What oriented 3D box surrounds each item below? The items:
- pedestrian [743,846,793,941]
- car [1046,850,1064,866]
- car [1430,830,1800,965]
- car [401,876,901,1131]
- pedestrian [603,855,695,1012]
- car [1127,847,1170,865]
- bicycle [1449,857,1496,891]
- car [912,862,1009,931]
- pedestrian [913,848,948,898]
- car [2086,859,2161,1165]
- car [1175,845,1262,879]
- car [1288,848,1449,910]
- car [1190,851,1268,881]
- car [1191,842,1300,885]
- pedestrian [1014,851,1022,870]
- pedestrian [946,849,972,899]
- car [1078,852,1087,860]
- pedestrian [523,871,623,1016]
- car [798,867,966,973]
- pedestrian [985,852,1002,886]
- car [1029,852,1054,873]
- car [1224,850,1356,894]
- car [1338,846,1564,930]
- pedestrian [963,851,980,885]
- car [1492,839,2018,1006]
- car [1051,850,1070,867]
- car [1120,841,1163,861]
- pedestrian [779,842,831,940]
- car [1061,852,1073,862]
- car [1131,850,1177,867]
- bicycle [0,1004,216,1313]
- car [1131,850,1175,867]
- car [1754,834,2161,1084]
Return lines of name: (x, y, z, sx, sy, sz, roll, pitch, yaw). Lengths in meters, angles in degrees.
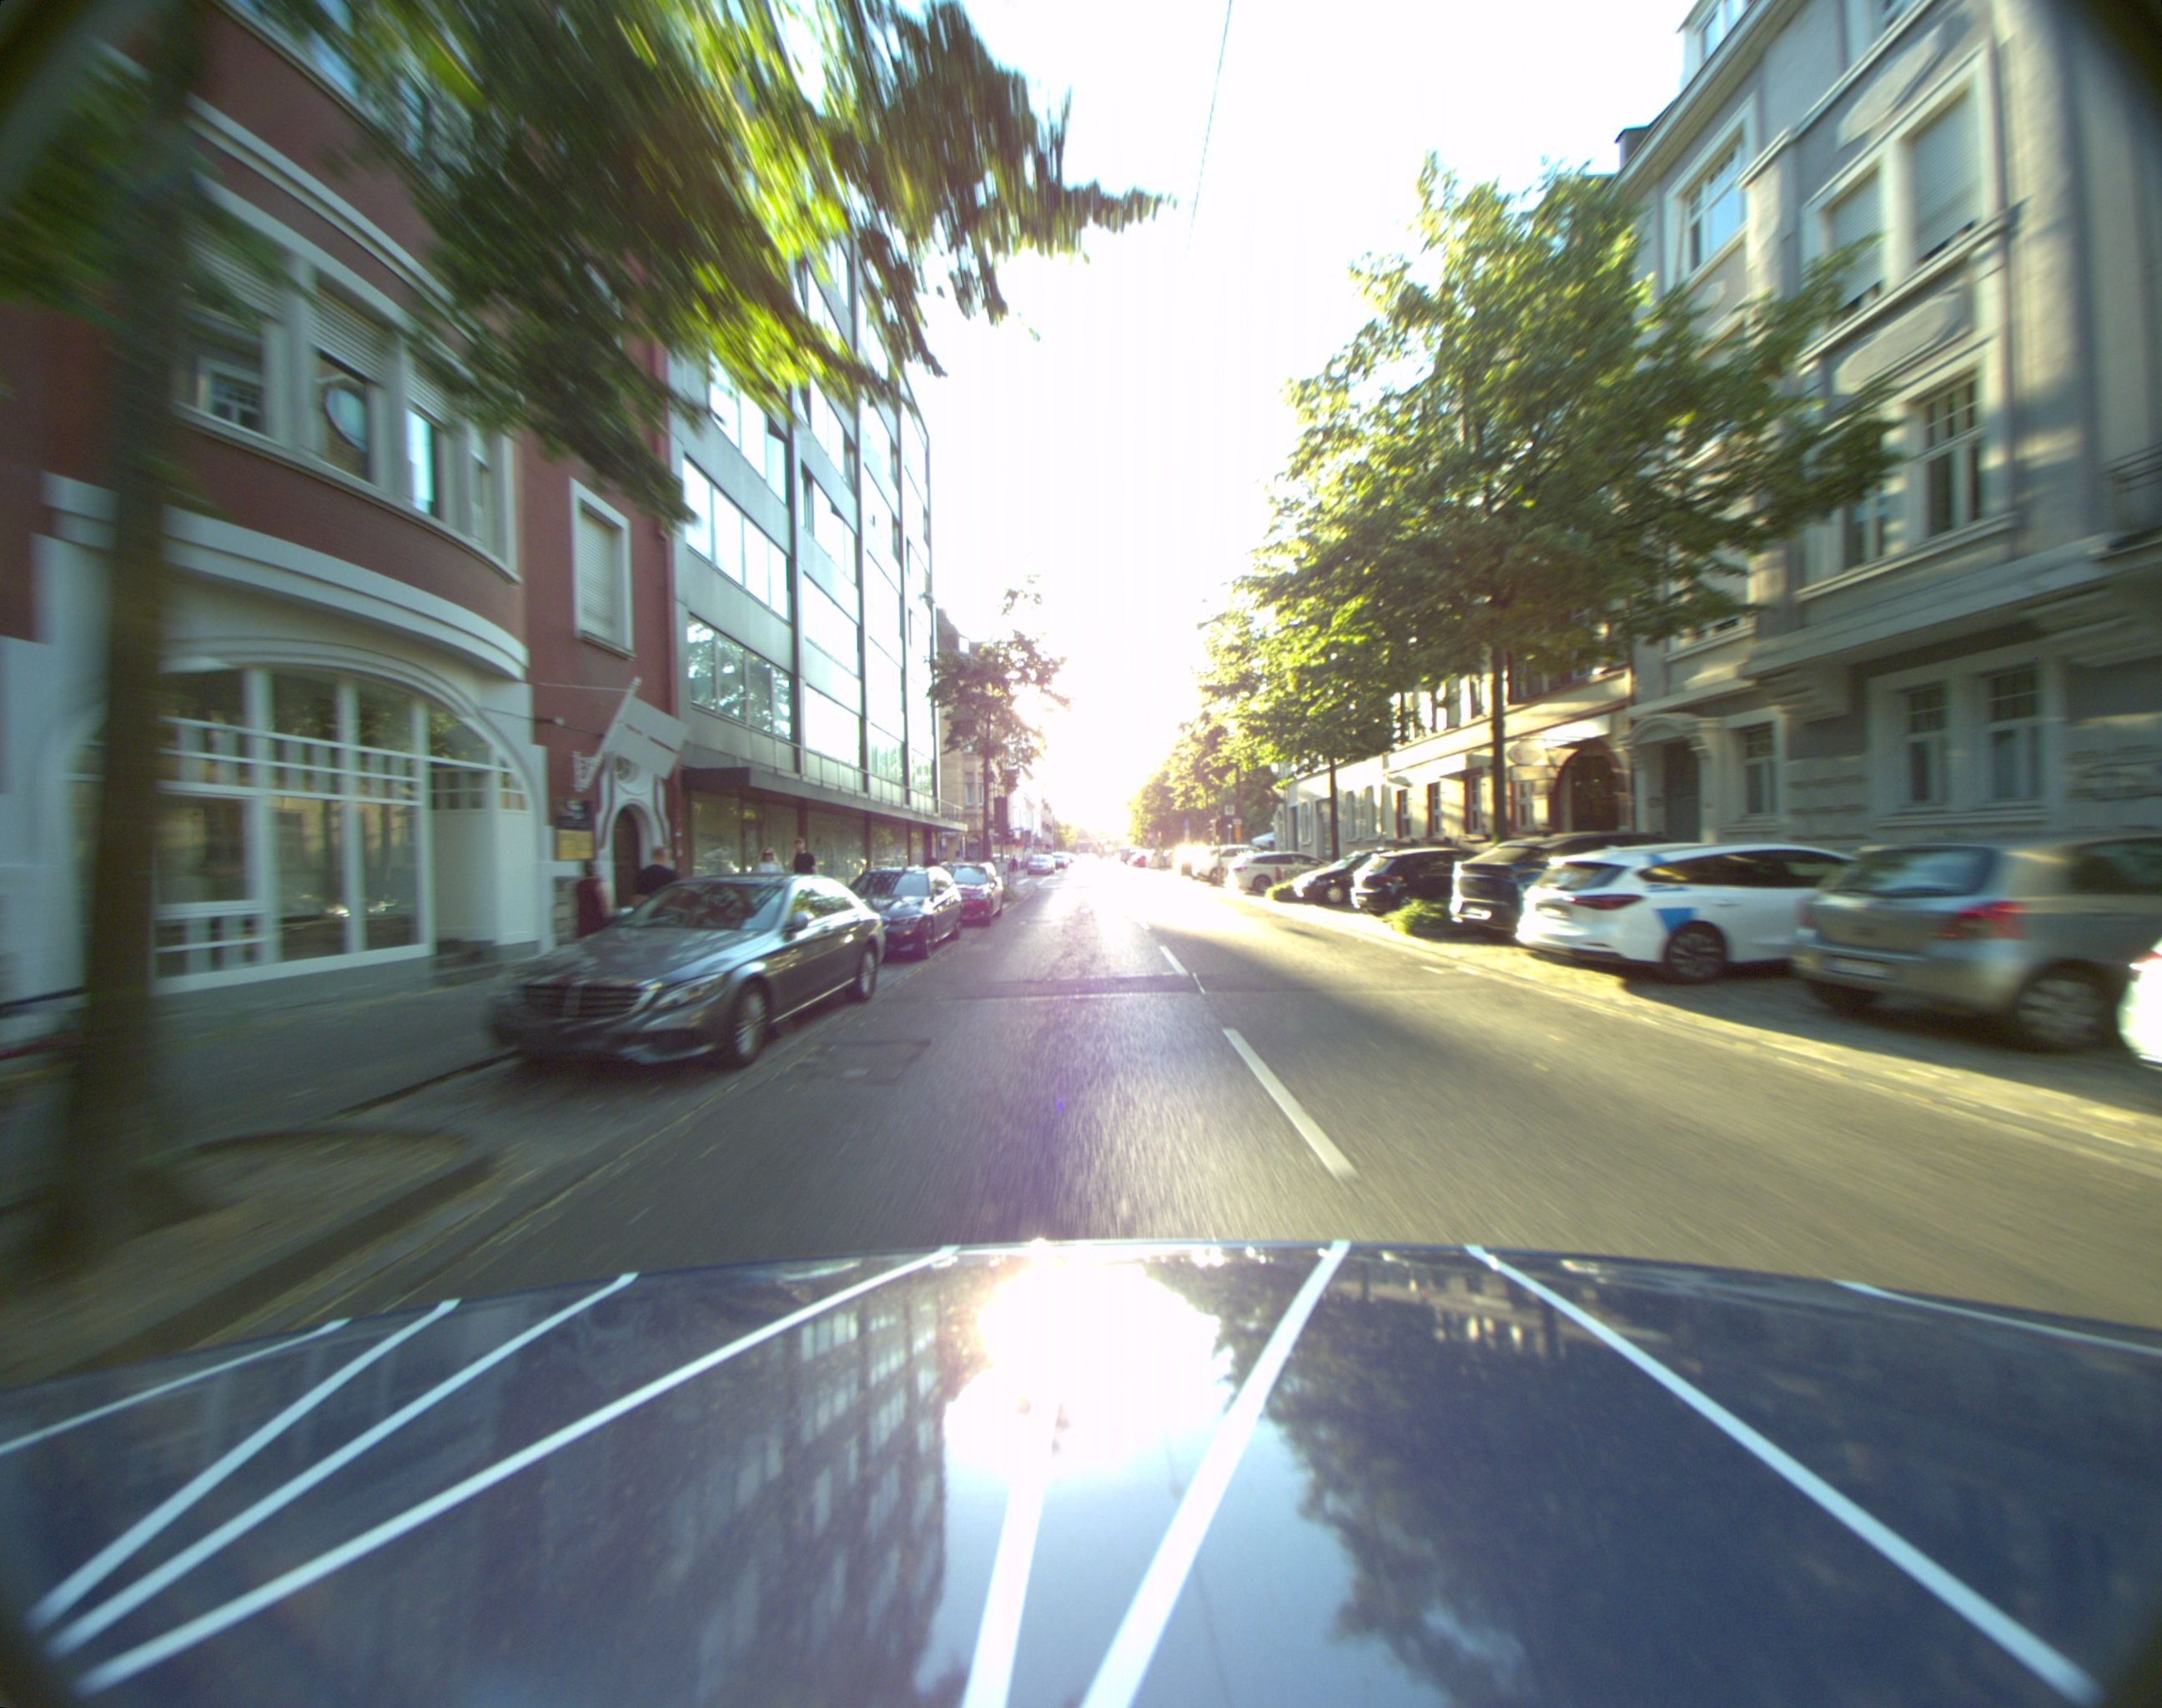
pedestrian: (-6.106, 0.743, 14.854, 0.590, 1.799, 0.836, 1, 1, 1)
car: (-2.836, 0.441, 84.823, 1.758, 1.638, 3.793, 2, 0, 1)
car: (7.822, 0.596, 11.419, 4.242, 1.641, 1.893, -3, 0, -3)
car: (-3.327, 1.013, 7.309, 1.778, 1.431, 5.001, 1, 0, 3)
pedestrian: (-4.734, 0.841, 8.361, 0.626, 1.667, 0.640, 0, 1, 1)
car: (7.424, 0.223, 83.410, 4.579, 1.922, 1.896, -2, 0, -37)
bicycle: (12.050, 0.593, 23.430, 0.622, 0.983, 1.734, -3, 0, 5)
car: (-2.962, 1.003, 19.672, 1.726, 1.484, 4.752, 1, 0, 0)
pedestrian: (-5.501, 0.693, 27.842, 1.049, 1.775, 0.945, 2, 1, 1)
car: (7.411, 0.685, 3.081, 4.223, 1.497, 1.793, -3, 0, 1)
car: (7.791, 0.446, 43.304, 4.567, 1.772, 1.946, -2, 1, 0)
car: (7.940, 0.672, 21.241, 3.794, 1.440, 1.790, -3, 0, 3)
car: (7.879, 0.625, 40.637, 3.825, 1.453, 1.821, -2, 0, 2)
car: (7.814, 0.438, 36.469, 4.718, 1.800, 2.053, -3, 0, 2)
pedestrian: (-5.488, 0.594, 65.956, 0.599, 1.653, 0.603, 0, 1, 6)
pedestrian: (-4.460, 0.725, 27.850, 0.731, 1.775, 0.870, 3, 1, 1)
car: (0.295, 0.380, 151.891, 1.804, 1.570, 4.403, 1, 0, 1)
pedestrian: (-5.405, 0.926, 8.115, 0.626, 1.480, 0.640, 0, 1, 1)
car: (-3.270, 1.010, 13.438, 1.779, 1.462, 4.417, 1, 0, 0)
pedestrian: (-4.587, 0.762, 39.866, 0.756, 1.748, 0.812, -1, 1, 1)
car: (-3.213, 0.656, 62.198, 1.758, 1.638, 3.793, 2, 0, 1)
car: (7.772, 0.659, 28.568, 4.393, 1.414, 1.822, -3, 0, 1)
car: (7.753, 0.682, 16.150, 3.925, 1.440, 1.697, -4, 0, -2)
pedestrian: (-5.780, 0.722, 40.130, 0.756, 1.748, 0.812, -1, 1, 1)
car: (7.344, 0.691, 8.659, 4.196, 1.474, 1.970, -3, 0, 0)
car: (-2.446, 0.551, 93.066, 1.867, 1.900, 4.256, 2, 0, 4)
car: (7.428, -0.402, 93.603, 4.782, 2.344, 2.153, -2, 0, -27)
pedestrian: (-5.413, 0.708, 14.929, 0.627, 1.857, 0.976, 1, 1, 1)
car: (-2.231, 0.550, 125.609, 1.804, 1.570, 4.403, 1, 0, 1)
car: (7.380, 0.429, 76.655, 4.579, 1.548, 1.809, -2, 0, -37)
bicycle: (-4.116, 1.182, 2.630, 0.386, 0.978, 1.711, -1, 0, -5)
car: (7.617, 0.499, 80.236, 4.579, 1.623, 1.896, -2, 0, -37)
car: (7.678, 0.663, 5.749, 3.415, 1.501, 1.847, -3, 0, 4)
